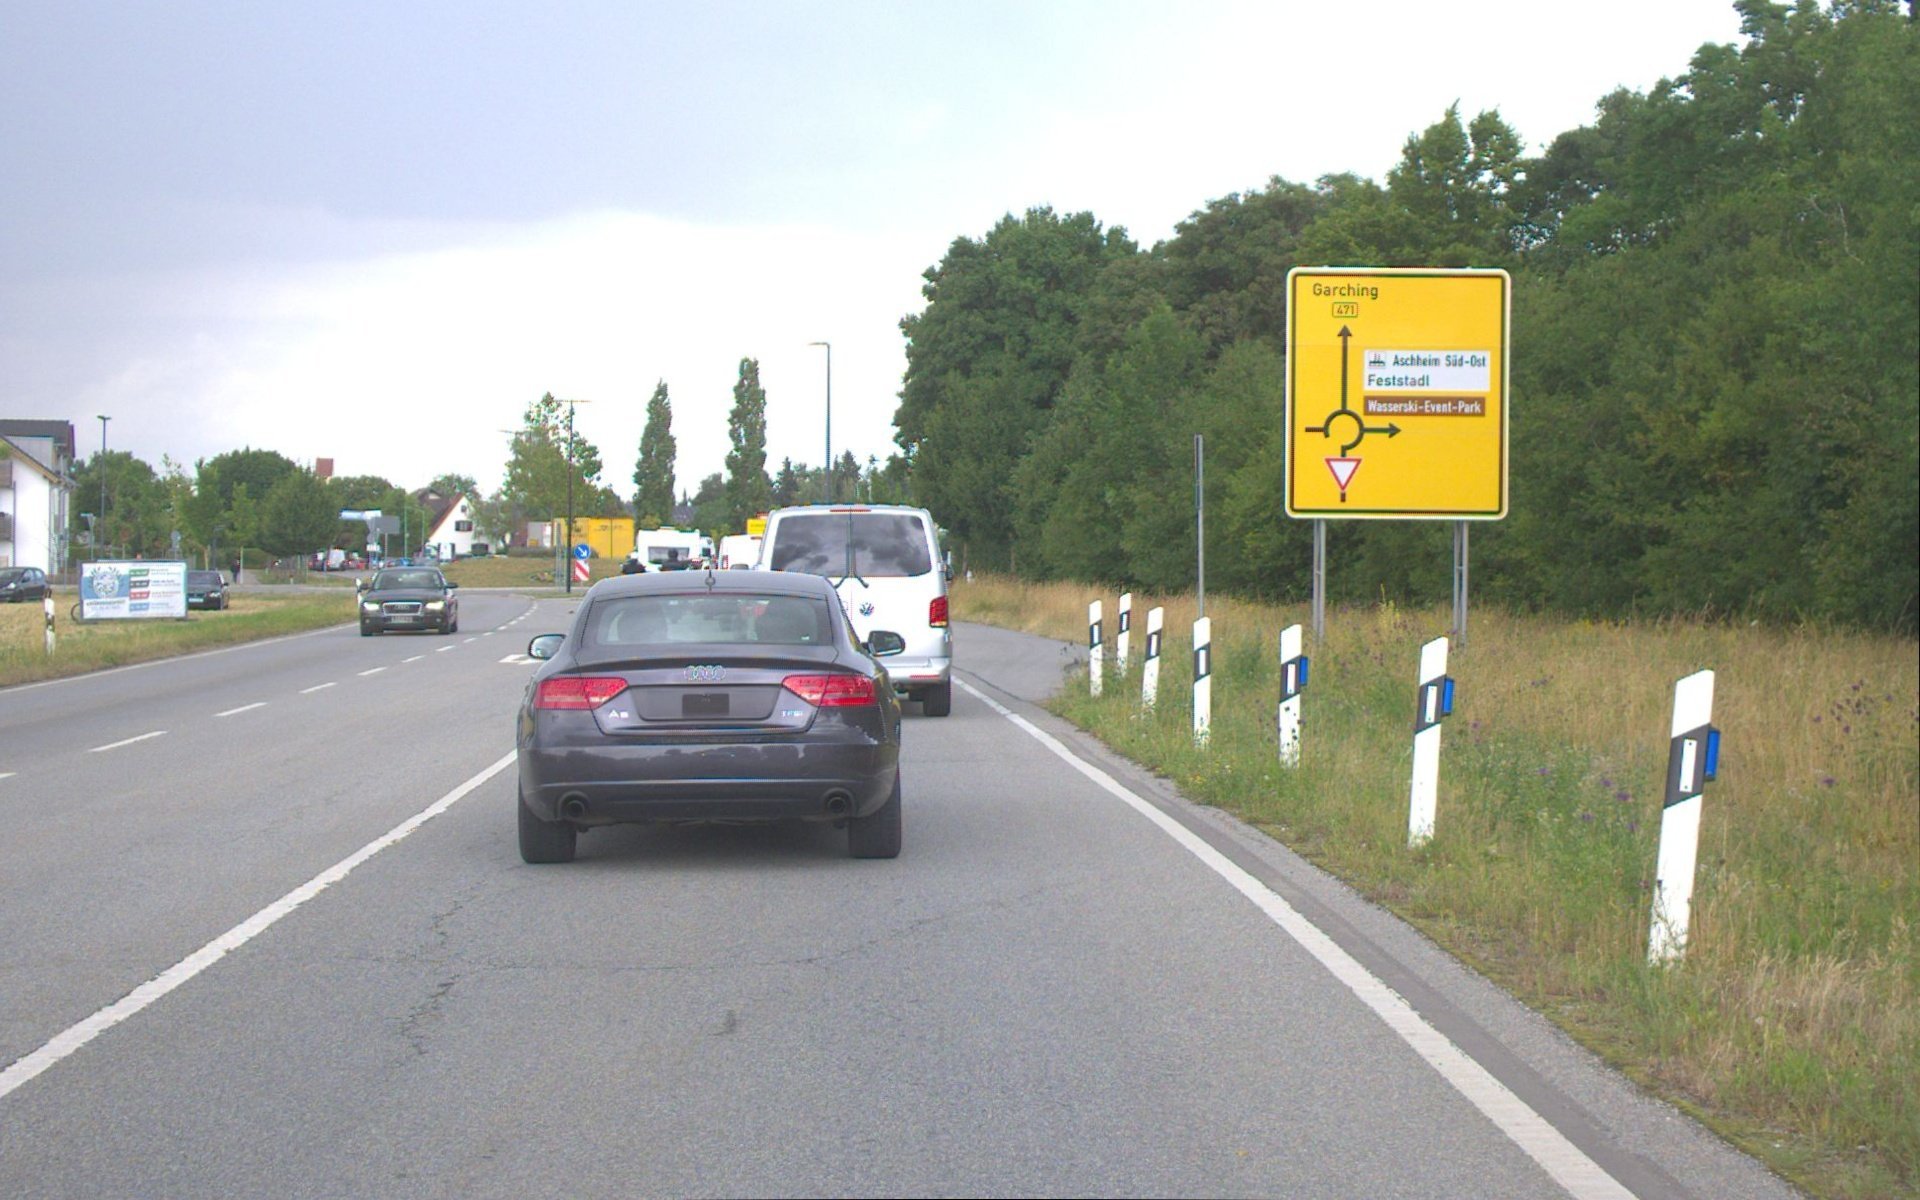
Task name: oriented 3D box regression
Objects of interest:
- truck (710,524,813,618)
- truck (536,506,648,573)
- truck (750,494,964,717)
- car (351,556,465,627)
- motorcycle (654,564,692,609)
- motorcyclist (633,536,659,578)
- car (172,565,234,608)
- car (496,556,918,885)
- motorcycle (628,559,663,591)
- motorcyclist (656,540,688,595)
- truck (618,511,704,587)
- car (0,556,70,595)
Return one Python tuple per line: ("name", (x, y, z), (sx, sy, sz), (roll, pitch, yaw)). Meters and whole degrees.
("truck", (-4.409, -0.656, 76.280), (2.193, 2.007, 5.085), (0, 1, -4))
("truck", (-20.495, -3.407, 191.054), (3.575, 3.566, 9.959), (1, 1, -22))
("truck", (-1.060, 0.014, 33.107), (1.904, 1.991, 4.629), (0, 1, -4))
("car", (-11.404, -0.203, 71.264), (1.826, 1.405, 4.424), (-1, 1, -2))
("motorcycle", (-7.191, -0.348, 85.992), (0.920, 1.090, 2.189), (0, 1, -5))
("motorcyclist", (-10.070, -1.371, 110.263), (0.785, 1.352, 0.854), (0, 1, -10))
("car", (-26.708, -0.491, 121.276), (1.993, 1.437, 4.001), (0, 1, -15))
("car", (-1.285, 0.509, 17.474), (1.874, 1.449, 4.178), (0, 1, -4))
("motorcycle", (-10.108, -0.806, 110.332), (0.944, 1.016, 2.284), (0, 1, -9))
("motorcyclist", (-7.187, -0.810, 85.828), (0.772, 1.379, 0.820), (0, 1, -5))
("truck", (-11.255, -1.903, 128.995), (2.625, 2.728, 5.869), (1, 1, -10))
("car", (-36.375, -0.957, 133.011), (1.995, 1.441, 4.209), (0, 1, 15))
